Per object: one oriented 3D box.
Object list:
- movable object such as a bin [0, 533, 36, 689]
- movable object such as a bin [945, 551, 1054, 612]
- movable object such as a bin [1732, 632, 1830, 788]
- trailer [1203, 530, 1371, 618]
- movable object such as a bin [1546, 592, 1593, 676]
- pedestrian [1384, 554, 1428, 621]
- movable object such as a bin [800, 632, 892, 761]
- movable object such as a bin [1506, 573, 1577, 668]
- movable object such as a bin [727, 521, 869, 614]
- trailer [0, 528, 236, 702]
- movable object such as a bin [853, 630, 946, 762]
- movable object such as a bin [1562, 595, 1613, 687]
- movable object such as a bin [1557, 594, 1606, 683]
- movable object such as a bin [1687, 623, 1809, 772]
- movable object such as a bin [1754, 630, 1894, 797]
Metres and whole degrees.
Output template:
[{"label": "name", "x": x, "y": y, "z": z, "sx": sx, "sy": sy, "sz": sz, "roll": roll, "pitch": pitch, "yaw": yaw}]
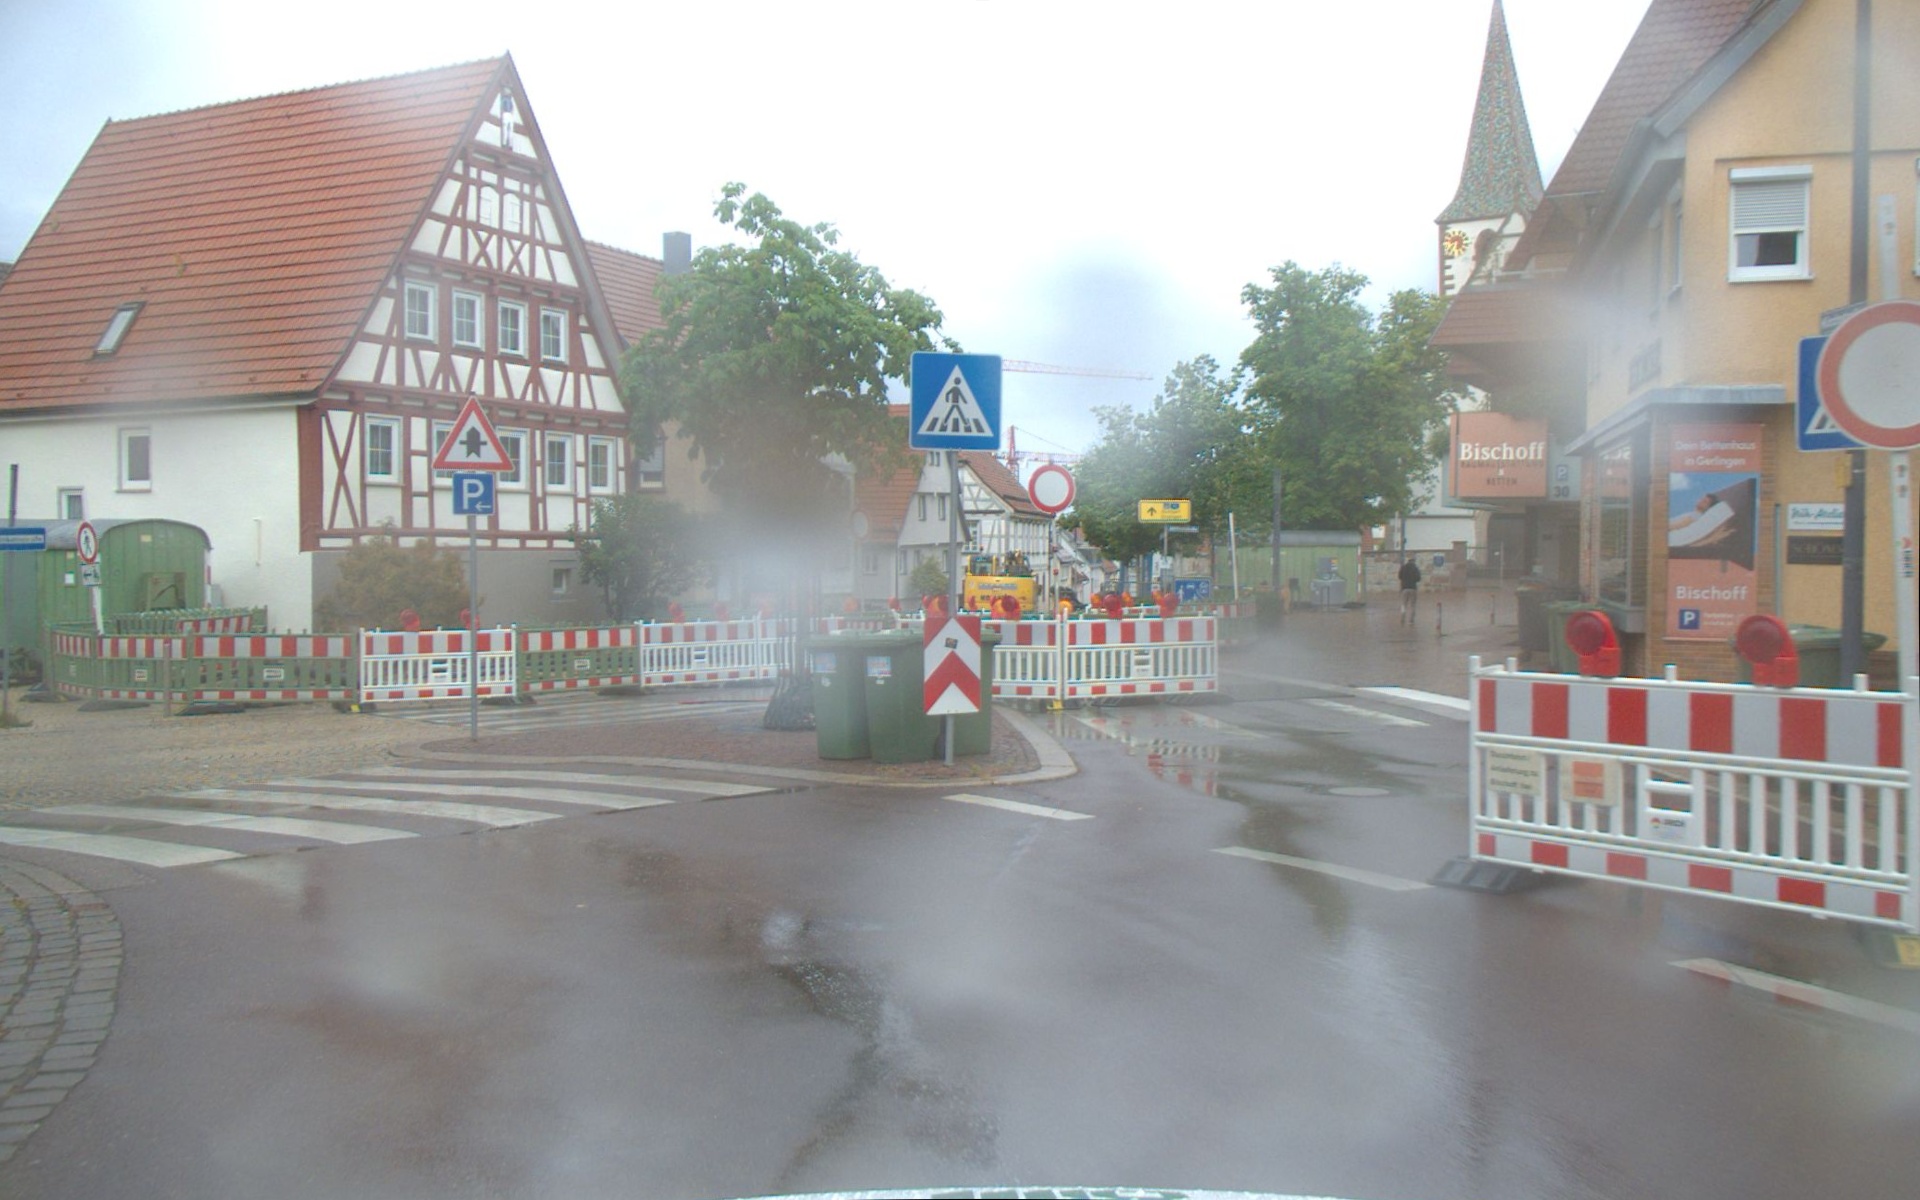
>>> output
[{"label": "movable object such as a bin", "x": -17.367, "y": 0.259, "z": 26.368, "sx": 1.866, "sy": 2.598, "sz": 4.291, "roll": -2, "pitch": 1, "yaw": 22}, {"label": "movable object such as a bin", "x": 1.472, "y": -0.660, "z": 59.240, "sx": 3.329, "sy": 2.049, "sz": 3.482, "roll": 1, "pitch": 0, "yaw": 11}, {"label": "movable object such as a bin", "x": 5.931, "y": 0.783, "z": 11.963, "sx": 0.604, "sy": 1.084, "sz": 0.539, "roll": -1, "pitch": -1, "yaw": 26}, {"label": "trailer", "x": 11.634, "y": -0.927, "z": 59.162, "sx": 5.659, "sy": 2.999, "sz": 2.001, "roll": 1, "pitch": 0, "yaw": 5}, {"label": "movable object such as a bin", "x": 8.684, "y": 0.486, "z": 23.575, "sx": 0.505, "sy": 1.148, "sz": 0.580, "roll": -3, "pitch": 1, "yaw": 13}, {"label": "pedestrian", "x": 12.149, "y": -0.337, "z": 45.090, "sx": 0.969, "sy": 1.789, "sz": 0.852, "roll": 1, "pitch": 0, "yaw": 4}, {"label": "movable object such as a bin", "x": -0.962, "y": 0.797, "z": 13.959, "sx": 0.532, "sy": 1.055, "sz": 0.568, "roll": -2, "pitch": -2, "yaw": 43}, {"label": "movable object such as a bin", "x": 9.957, "y": 0.339, "z": 28.361, "sx": 1.043, "sy": 1.539, "sz": 1.243, "roll": -2, "pitch": 0, "yaw": 17}, {"label": "movable object such as a bin", "x": -3.782, "y": -0.735, "z": 39.315, "sx": 1.865, "sy": 2.049, "sz": 4.002, "roll": -1, "pitch": 0, "yaw": 18}, {"label": "trailer", "x": -15.577, "y": 0.206, "z": 29.545, "sx": 4.527, "sy": 2.886, "sz": 2.490, "roll": 1, "pitch": 0, "yaw": 26}, {"label": "movable object such as a bin", "x": -0.494, "y": 0.775, "z": 13.531, "sx": 0.535, "sy": 1.051, "sz": 0.531, "roll": -2, "pitch": -2, "yaw": 43}, {"label": "movable object such as a bin", "x": 8.257, "y": 0.533, "z": 21.768, "sx": 0.506, "sy": 1.151, "sz": 0.580, "roll": -3, "pitch": 1, "yaw": 13}, {"label": "movable object such as a bin", "x": 8.399, "y": 0.515, "z": 22.360, "sx": 0.505, "sy": 1.148, "sz": 0.580, "roll": -3, "pitch": 1, "yaw": 13}, {"label": "movable object such as a bin", "x": 5.984, "y": 0.729, "z": 12.586, "sx": 0.664, "sy": 1.084, "sz": 0.587, "roll": -1, "pitch": 1, "yaw": 4}, {"label": "movable object such as a bin", "x": 5.848, "y": 0.756, "z": 11.218, "sx": 0.664, "sy": 1.084, "sz": 0.540, "roll": -1, "pitch": 0, "yaw": 3}]
